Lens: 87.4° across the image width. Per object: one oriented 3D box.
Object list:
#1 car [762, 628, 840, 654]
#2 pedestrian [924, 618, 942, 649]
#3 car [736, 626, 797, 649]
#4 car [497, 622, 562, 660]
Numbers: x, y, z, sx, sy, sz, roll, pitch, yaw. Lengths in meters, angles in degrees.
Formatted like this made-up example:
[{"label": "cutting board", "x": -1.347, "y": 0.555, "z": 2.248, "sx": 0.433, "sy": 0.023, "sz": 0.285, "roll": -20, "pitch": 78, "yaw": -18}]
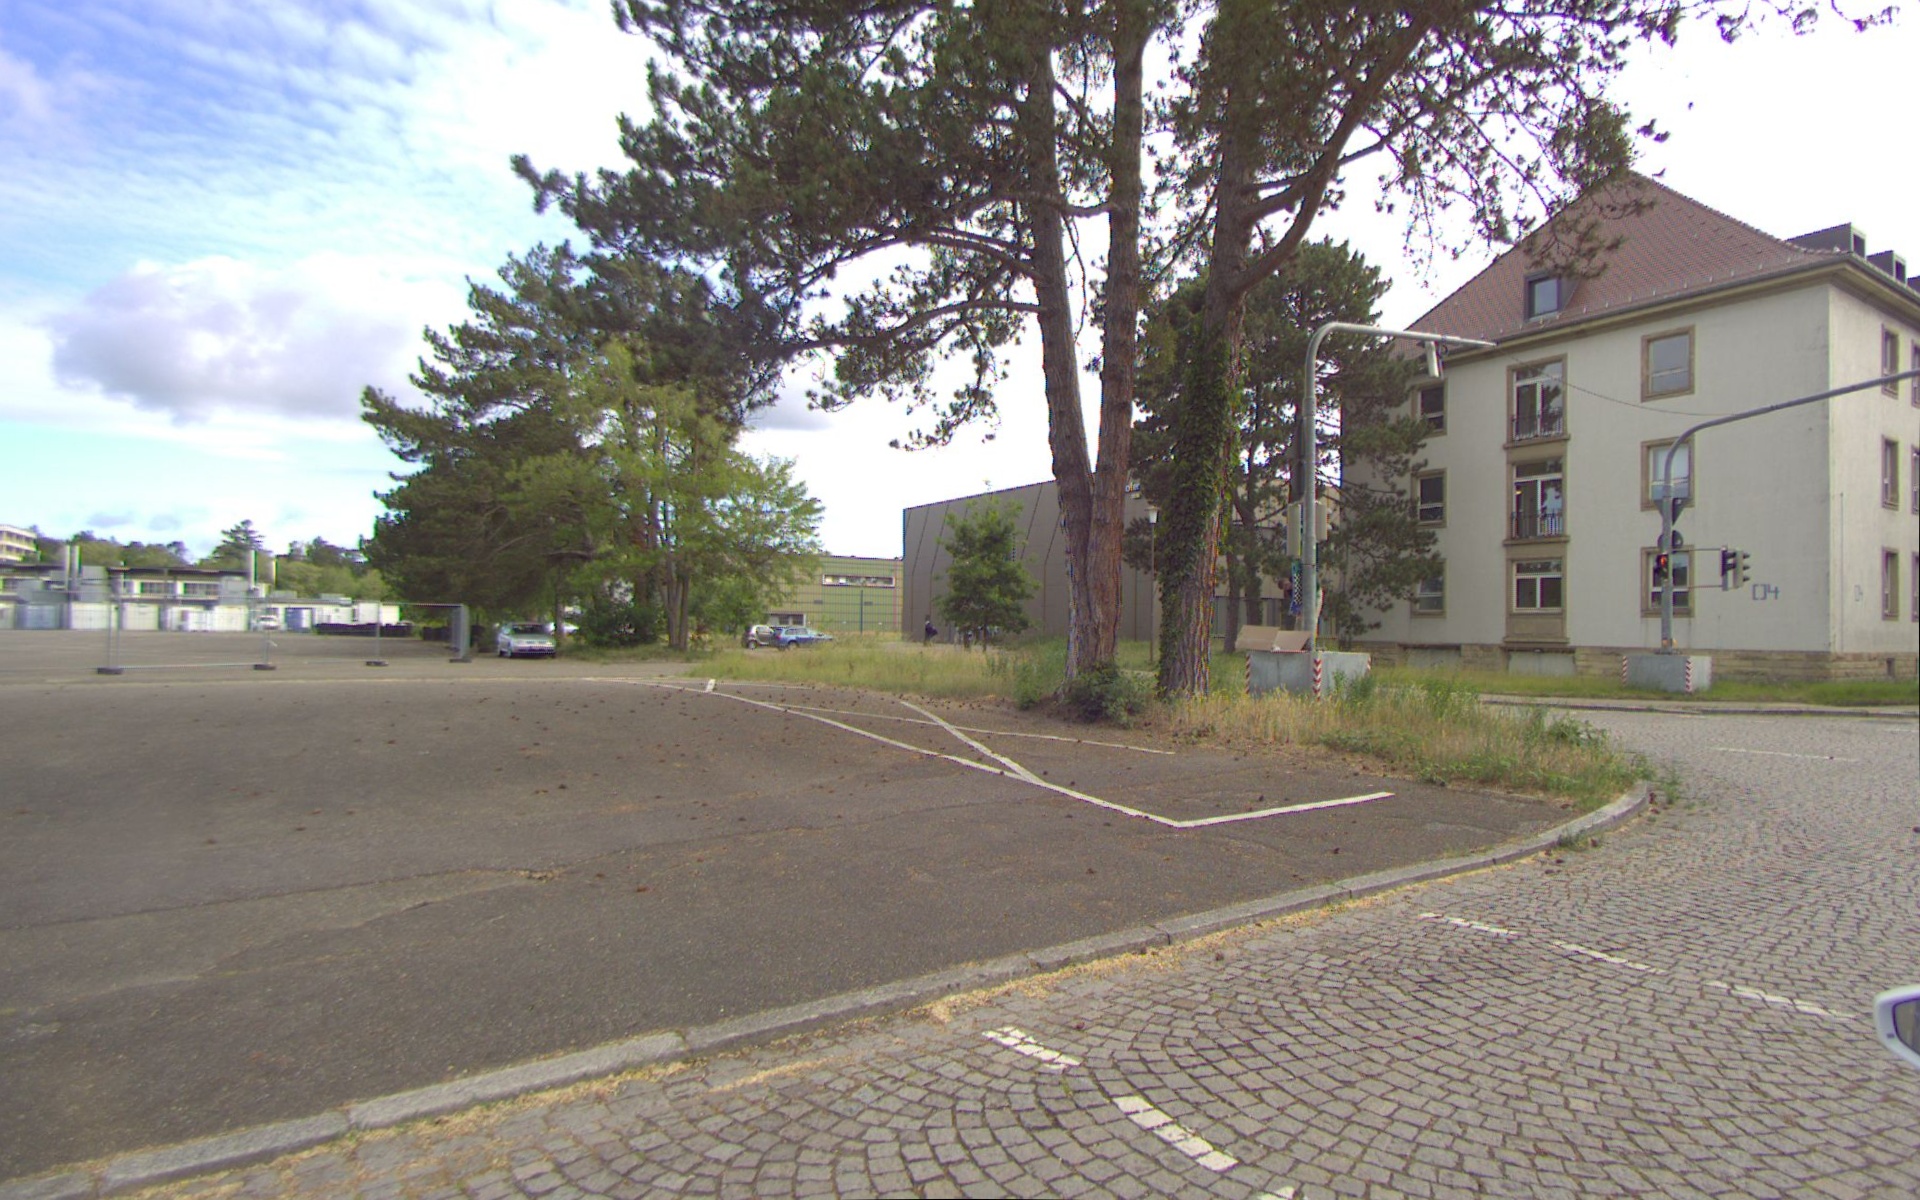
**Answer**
[{"label": "car", "x": -9.887, "y": 2.538, "z": 62.535, "sx": 4.408, "sy": 1.449, "sz": 1.983, "roll": 0, "pitch": -1, "yaw": -31}, {"label": "pedestrian", "x": -1.766, "y": 2.183, "z": 65.712, "sx": 0.890, "sy": 2.040, "sz": 0.915, "roll": 1, "pitch": -2, "yaw": -26}, {"label": "car", "x": -13.311, "y": 2.547, "z": 69.118, "sx": 3.618, "sy": 1.449, "sz": 1.984, "roll": 0, "pitch": -1, "yaw": -31}, {"label": "car", "x": -17.271, "y": 1.611, "z": 40.236, "sx": 1.679, "sy": 1.410, "sz": 3.963, "roll": 2, "pitch": -2, "yaw": -34}]
